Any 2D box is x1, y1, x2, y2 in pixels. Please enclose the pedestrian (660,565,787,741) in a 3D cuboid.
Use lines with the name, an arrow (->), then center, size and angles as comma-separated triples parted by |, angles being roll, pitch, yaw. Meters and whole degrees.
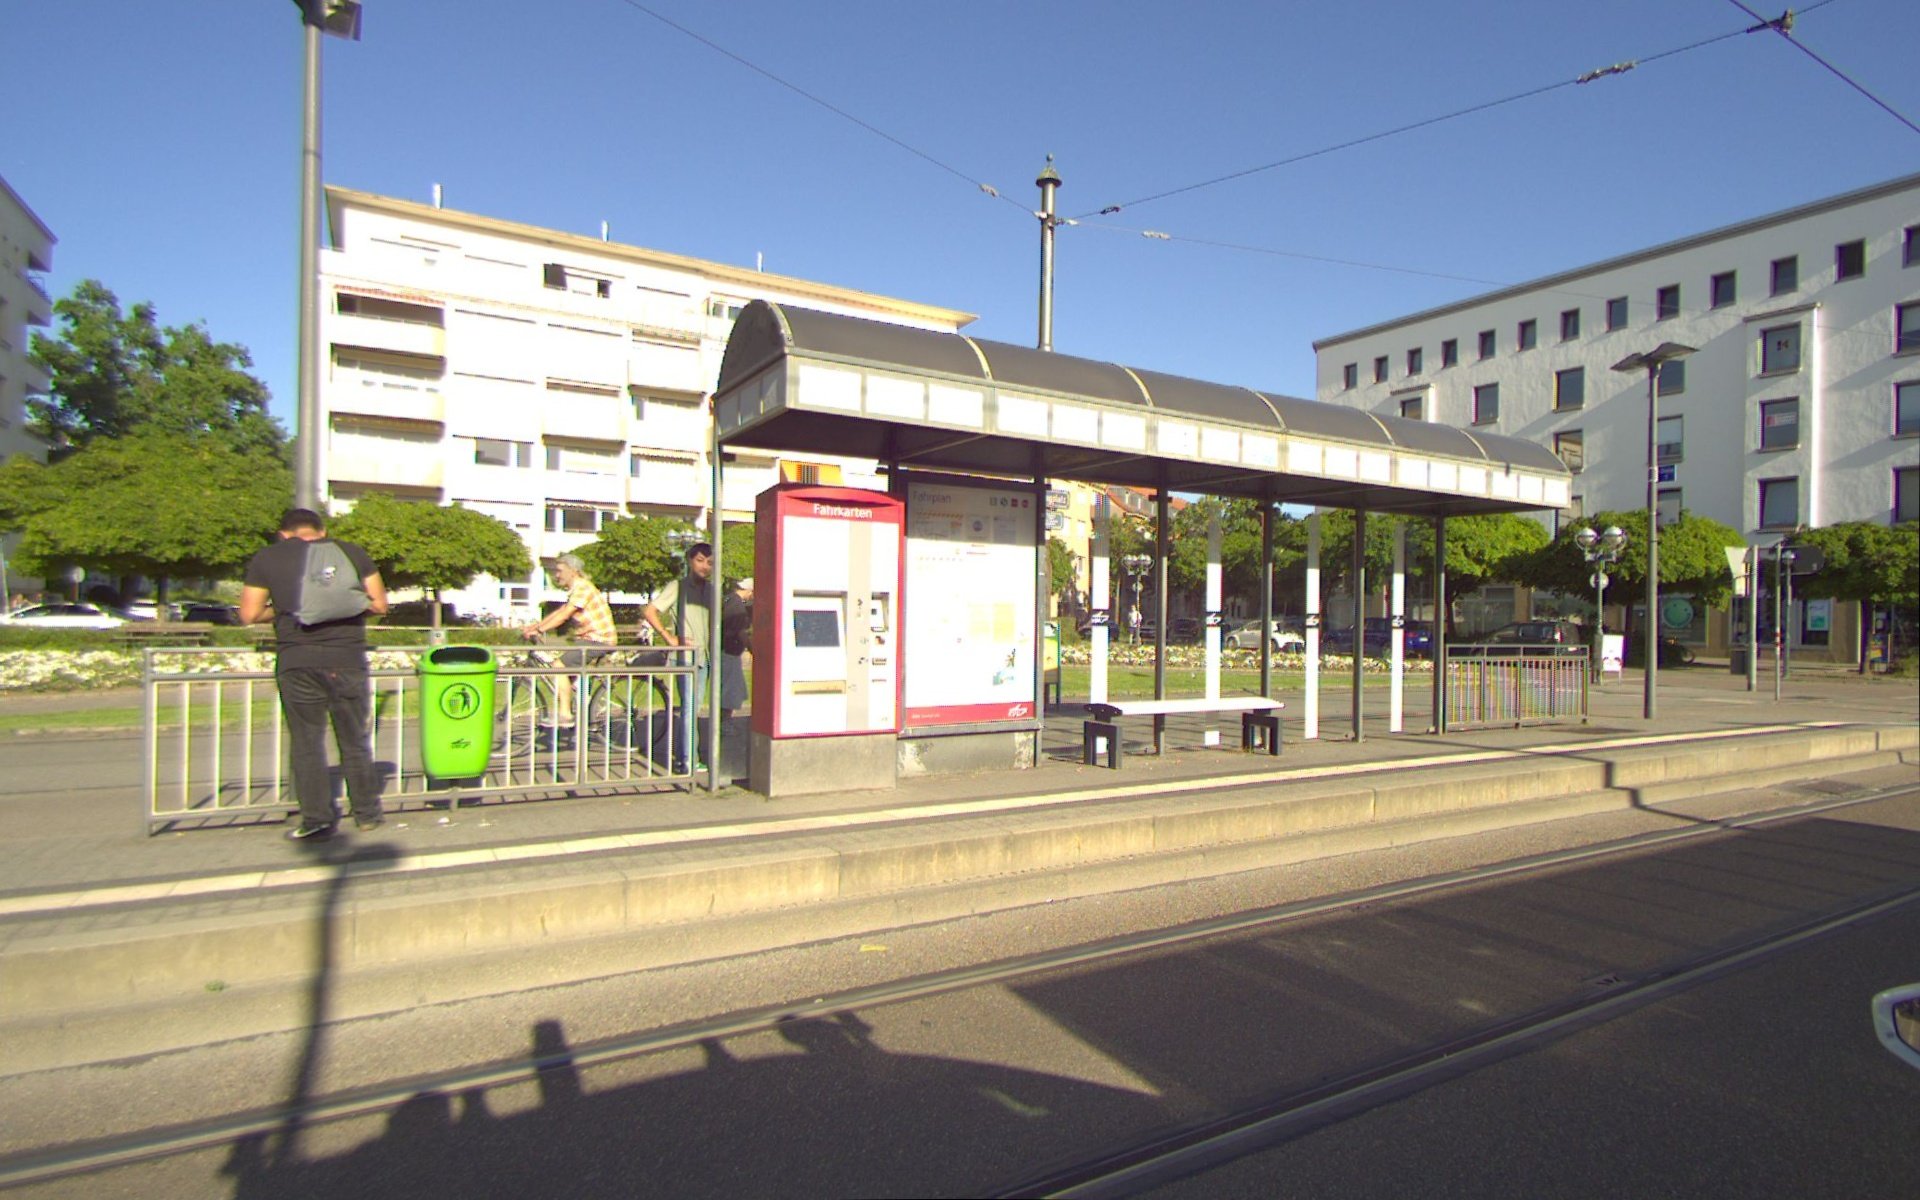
pedestrian -> -2.452, 0.532, 10.392 | 0.965, 1.702, 0.986 | 1, -2, -37

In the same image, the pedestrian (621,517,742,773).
pedestrian -> -2.088, 0.335, 7.523 | 0.760, 1.797, 0.613 | 1, -3, -28

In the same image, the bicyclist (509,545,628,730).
bicyclist -> -3.337, 0.309, 8.553 | 0.865, 1.475, 0.825 | 2, 0, -23

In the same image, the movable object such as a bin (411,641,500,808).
movable object such as a bin -> -2.786, 0.669, 5.554 | 0.411, 0.871, 0.335 | 1, -1, -27

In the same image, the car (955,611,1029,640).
car -> 1.574, 1.250, 49.263 | 3.271, 1.372, 1.638 | 1, -1, -29

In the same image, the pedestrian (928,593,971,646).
pedestrian -> -0.405, 0.763, 39.431 | 1.219, 2.040, 1.214 | 1, -1, -30

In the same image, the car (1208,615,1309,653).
car -> 14.182, 1.592, 47.972 | 1.835, 1.628, 4.581 | 1, -1, -31

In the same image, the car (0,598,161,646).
car -> -25.593, 0.639, 29.003 | 3.672, 1.318, 1.984 | 1, -1, -30

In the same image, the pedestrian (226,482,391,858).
pedestrian -> -3.237, 0.335, 5.044 | 0.599, 1.740, 0.546 | 1, -3, -28

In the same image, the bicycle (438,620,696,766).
bicycle -> -3.309, 0.760, 8.569 | 1.949, 1.128, 0.726 | 2, 0, -24

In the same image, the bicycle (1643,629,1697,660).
bicycle -> 28.194, 1.758, 39.851 | 2.586, 1.206, 0.615 | 1, -1, -27

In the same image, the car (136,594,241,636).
car -> -28.621, 0.557, 37.338 | 2.899, 1.506, 1.407 | 1, -1, -30

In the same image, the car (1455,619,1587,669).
car -> 21.051, 1.600, 37.831 | 1.804, 1.728, 3.968 | 1, -1, -30

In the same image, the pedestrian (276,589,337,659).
pedestrian -> -17.188, 0.630, 26.451 | 1.161, 1.811, 1.074 | 1, 0, -26

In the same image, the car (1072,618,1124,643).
car -> 9.277, 2.022, 67.117 | 1.887, 1.514, 4.343 | 2, 0, 31

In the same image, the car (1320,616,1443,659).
car -> 17.893, 1.570, 42.848 | 1.978, 1.684, 4.581 | 1, -1, -31

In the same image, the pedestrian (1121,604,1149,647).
pedestrian -> 7.650, 1.120, 43.941 | 0.856, 1.841, 0.944 | 1, 0, -19

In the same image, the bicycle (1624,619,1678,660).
bicycle -> 27.869, 1.604, 40.495 | 2.585, 1.628, 0.616 | 1, -1, -26
